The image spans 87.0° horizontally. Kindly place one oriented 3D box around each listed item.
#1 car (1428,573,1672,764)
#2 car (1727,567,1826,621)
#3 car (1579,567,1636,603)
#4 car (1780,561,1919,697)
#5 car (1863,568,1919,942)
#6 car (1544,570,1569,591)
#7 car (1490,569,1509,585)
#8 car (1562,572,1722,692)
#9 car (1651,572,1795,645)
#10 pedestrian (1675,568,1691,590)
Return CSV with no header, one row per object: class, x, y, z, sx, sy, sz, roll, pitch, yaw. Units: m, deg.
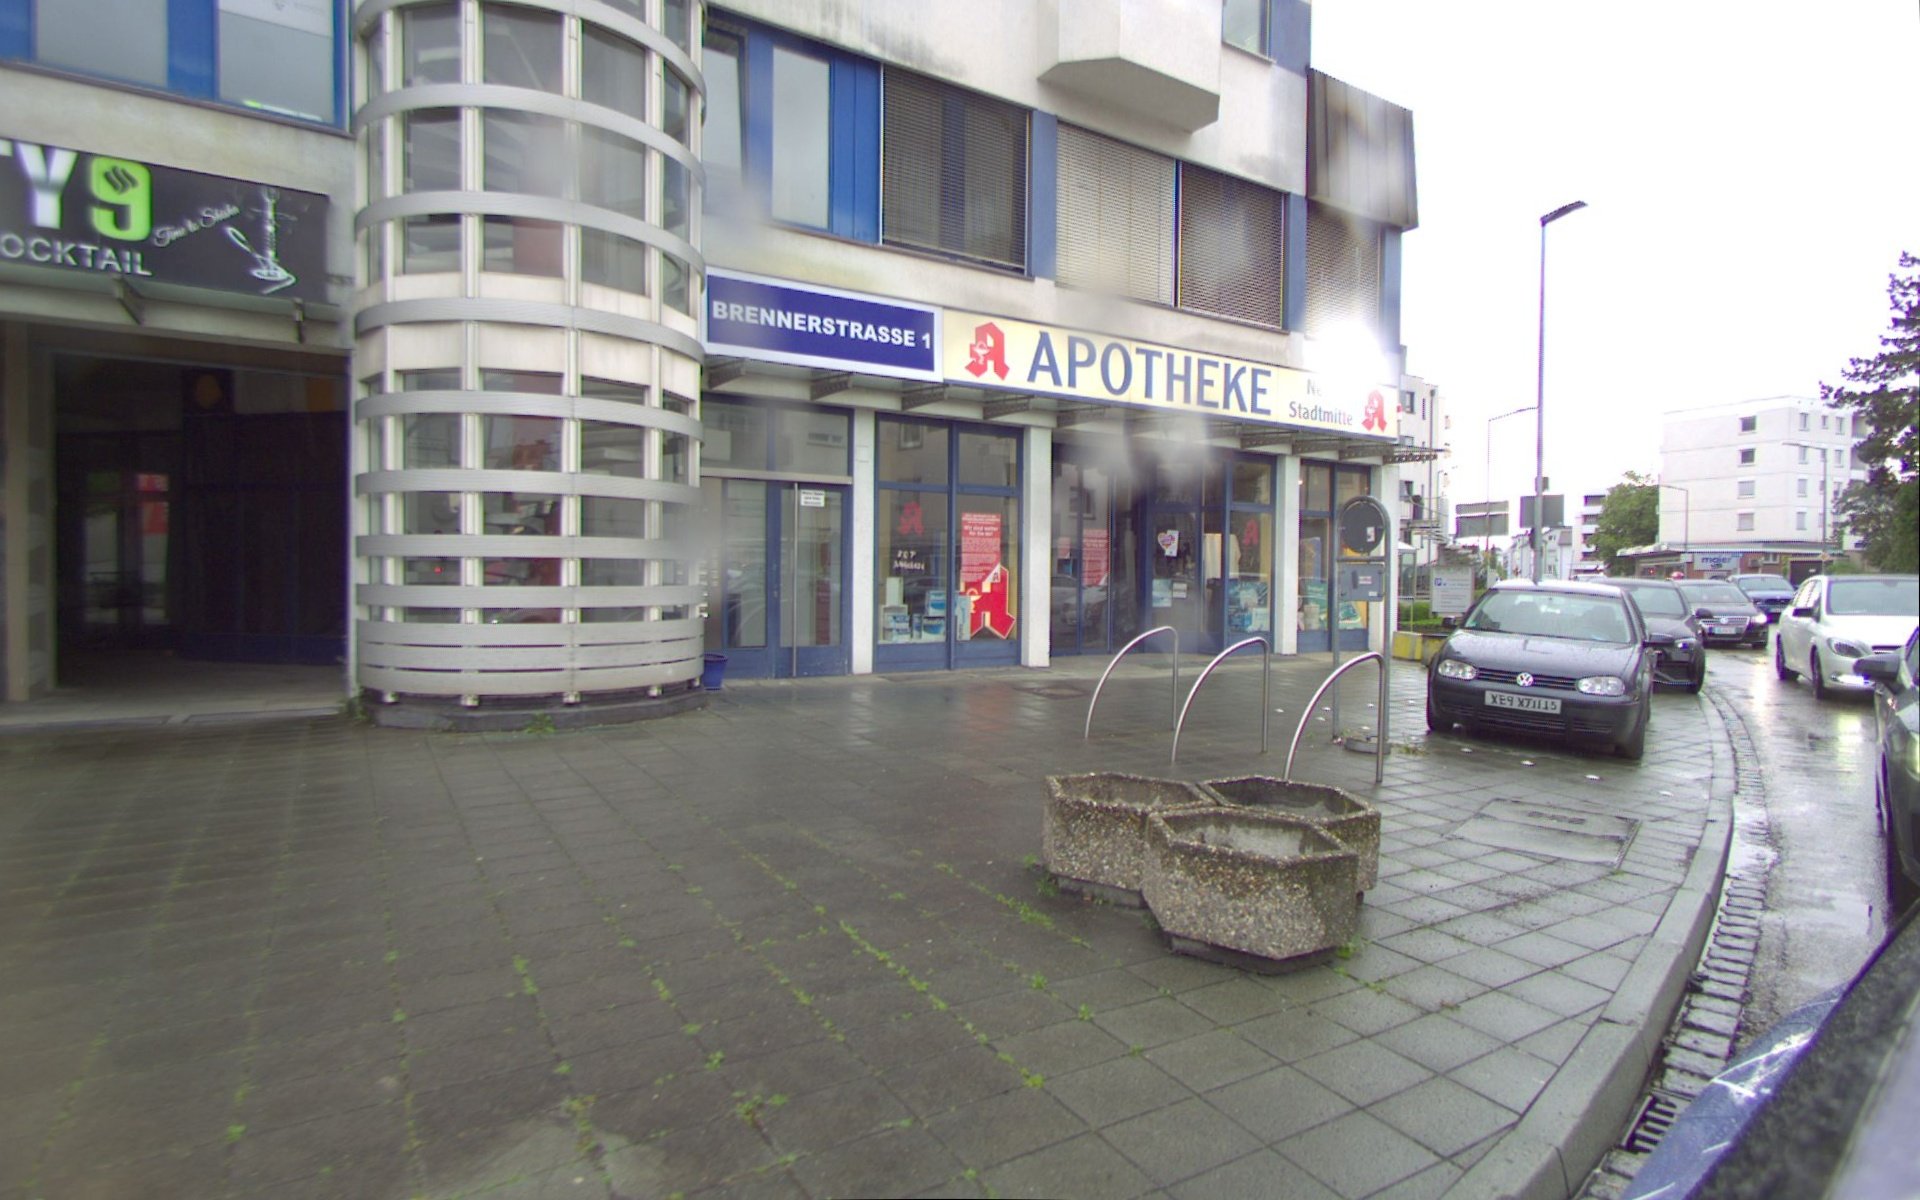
car,5.823,0.478,9.785,1.646,1.388,3.684,4,4,35
car,24.836,-0.240,30.907,1.737,1.472,3.775,1,3,30
car,30.382,-0.715,47.407,1.988,1.635,3.948,-1,1,36
car,12.147,0.308,13.214,1.722,1.547,4.017,1,1,32
car,5.785,0.591,5.072,1.727,1.462,3.990,1,2,40
car,50.115,-1.667,85.028,1.730,1.660,3.959,1,2,30
car,58.827,-2.548,110.328,1.728,1.660,3.963,1,2,27
car,9.725,0.331,14.404,1.649,1.442,3.949,2,2,36
car,16.671,0.111,22.322,1.784,1.385,3.939,1,3,26
pedestrian,58.659,-1.723,82.117,0.844,1.757,0.831,1,2,19
